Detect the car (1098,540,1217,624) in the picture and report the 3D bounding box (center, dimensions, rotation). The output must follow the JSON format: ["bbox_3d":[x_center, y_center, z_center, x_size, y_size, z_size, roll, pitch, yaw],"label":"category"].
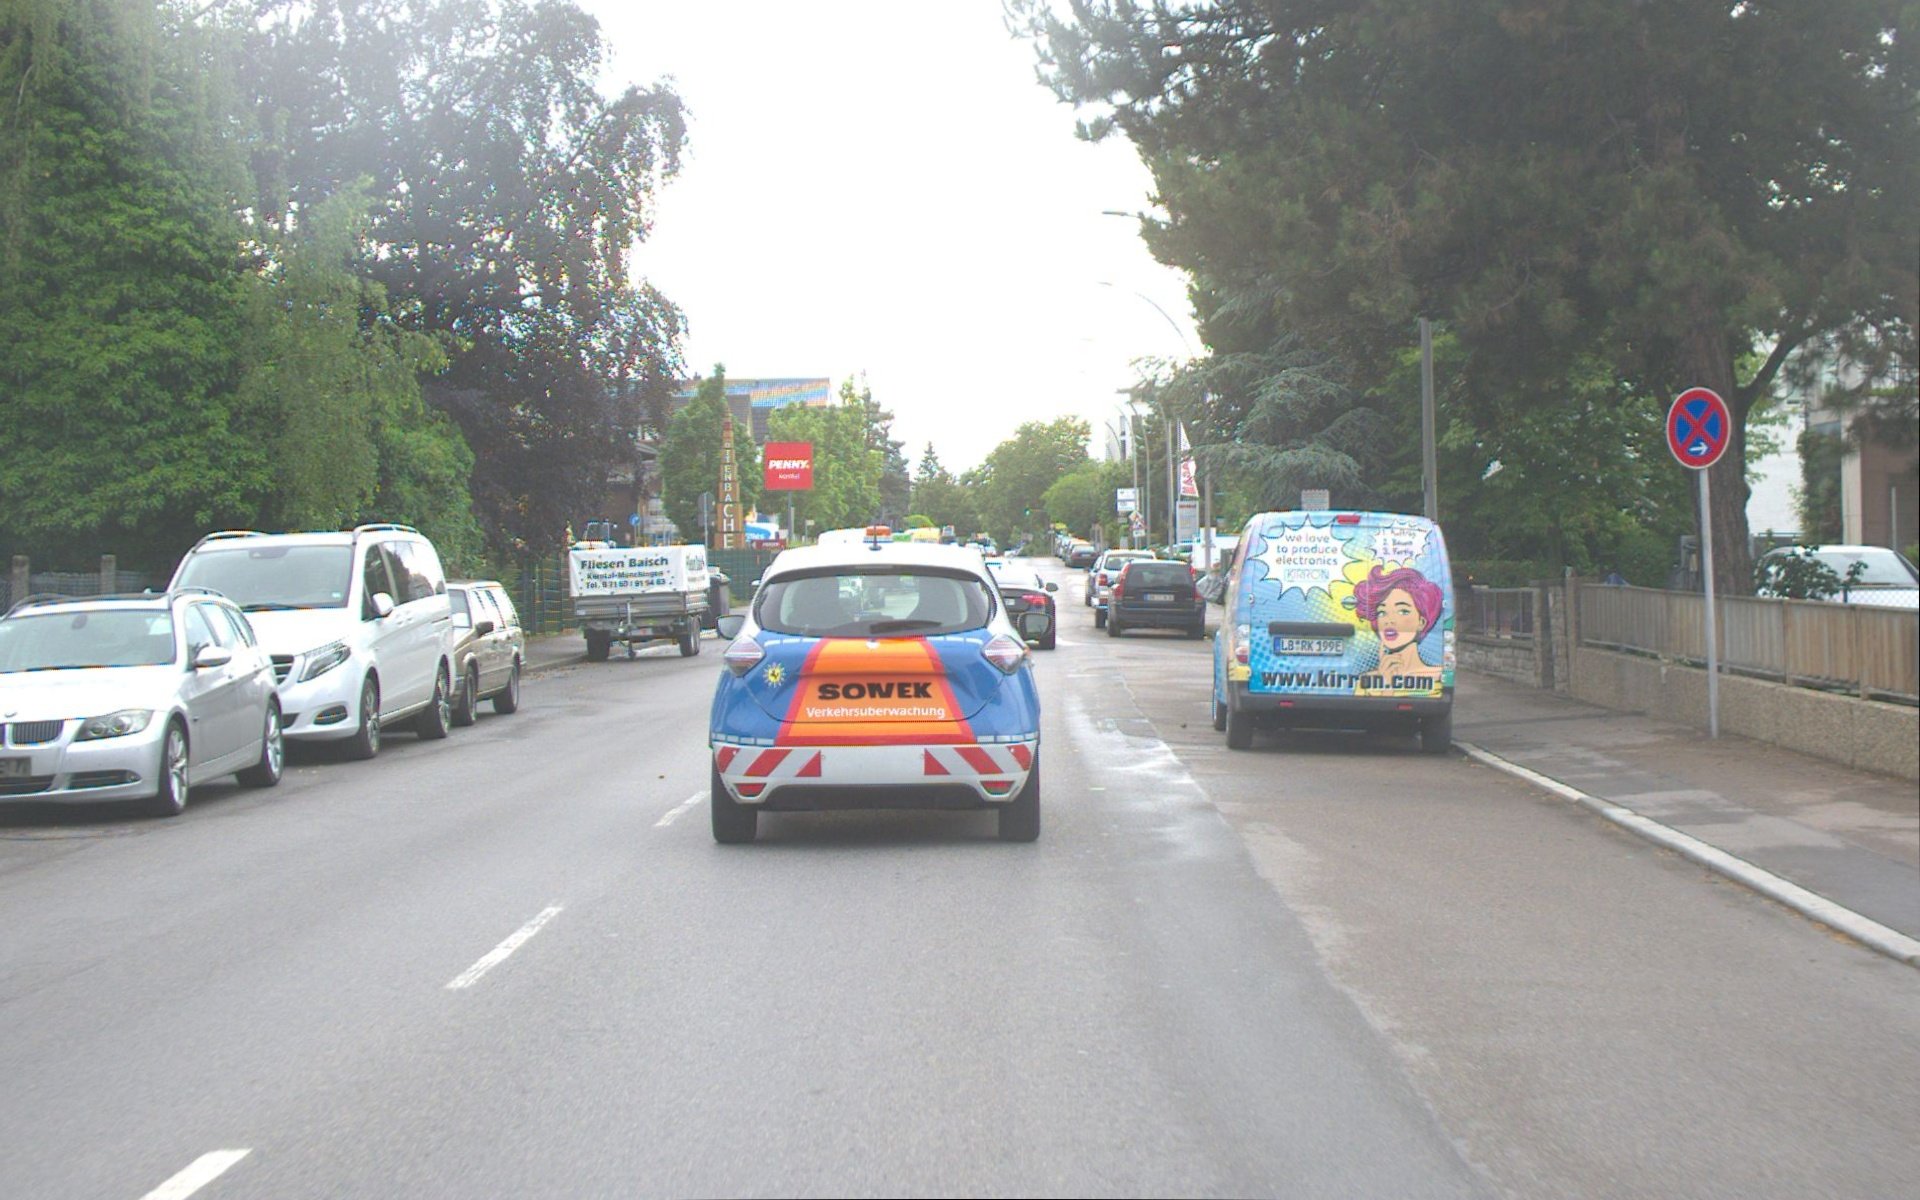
[{"bbox_3d":[3.707,-0.355,65.113,1.993,1.531,4.000,0,1,0],"label":"car"}]

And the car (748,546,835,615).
[{"bbox_3d":[-4.255,-0.477,87.397,1.993,1.591,4.000,2,-1,0],"label":"car"}]

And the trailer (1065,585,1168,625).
[{"bbox_3d":[3.161,0.085,69.853,1.938,0.751,2.859,0,1,0],"label":"trailer"}]

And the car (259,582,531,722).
[{"bbox_3d":[-5.664,0.489,34.955,1.993,1.284,4.000,0,1,2],"label":"car"}]

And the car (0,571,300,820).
[{"bbox_3d":[-5.734,0.641,22.842,1.742,1.475,4.183,-2,-1,2],"label":"car"}]

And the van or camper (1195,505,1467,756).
[{"bbox_3d":[2.923,0.199,27.828,1.754,1.876,4.000,0,1,0],"label":"van or camper"}]

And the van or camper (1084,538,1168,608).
[{"bbox_3d":[4.305,-0.725,89.799,1.993,1.778,4.000,0,1,0],"label":"van or camper"}]

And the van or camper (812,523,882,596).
[{"bbox_3d":[-3.684,-1.327,112.770,2.161,2.345,4.334,0,1,0],"label":"van or camper"}]

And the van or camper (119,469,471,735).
[{"bbox_3d":[-5.539,0.074,29.313,1.890,2.007,5.096,2,-1,1],"label":"van or camper"}]

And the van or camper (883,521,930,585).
[{"bbox_3d":[-2.340,-2.068,151.475,1.993,2.765,5.441,0,1,0],"label":"van or camper"}]

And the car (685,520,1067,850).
[{"bbox_3d":[-0.451,0.393,19.100,1.888,1.626,4.000,0,1,-1],"label":"car"}]

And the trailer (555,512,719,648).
[{"bbox_3d":[-5.166,-0.275,55.556,2.220,2.007,4.436,2,-1,-1],"label":"trailer"}]

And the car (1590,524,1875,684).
[{"bbox_3d":[7.846,0.082,35.287,1.993,1.481,4.000,2,-1,0],"label":"car"}]

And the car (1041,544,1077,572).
[{"bbox_3d":[5.832,-2.473,202.722,1.993,1.580,4.000,0,1,0],"label":"car"}]
